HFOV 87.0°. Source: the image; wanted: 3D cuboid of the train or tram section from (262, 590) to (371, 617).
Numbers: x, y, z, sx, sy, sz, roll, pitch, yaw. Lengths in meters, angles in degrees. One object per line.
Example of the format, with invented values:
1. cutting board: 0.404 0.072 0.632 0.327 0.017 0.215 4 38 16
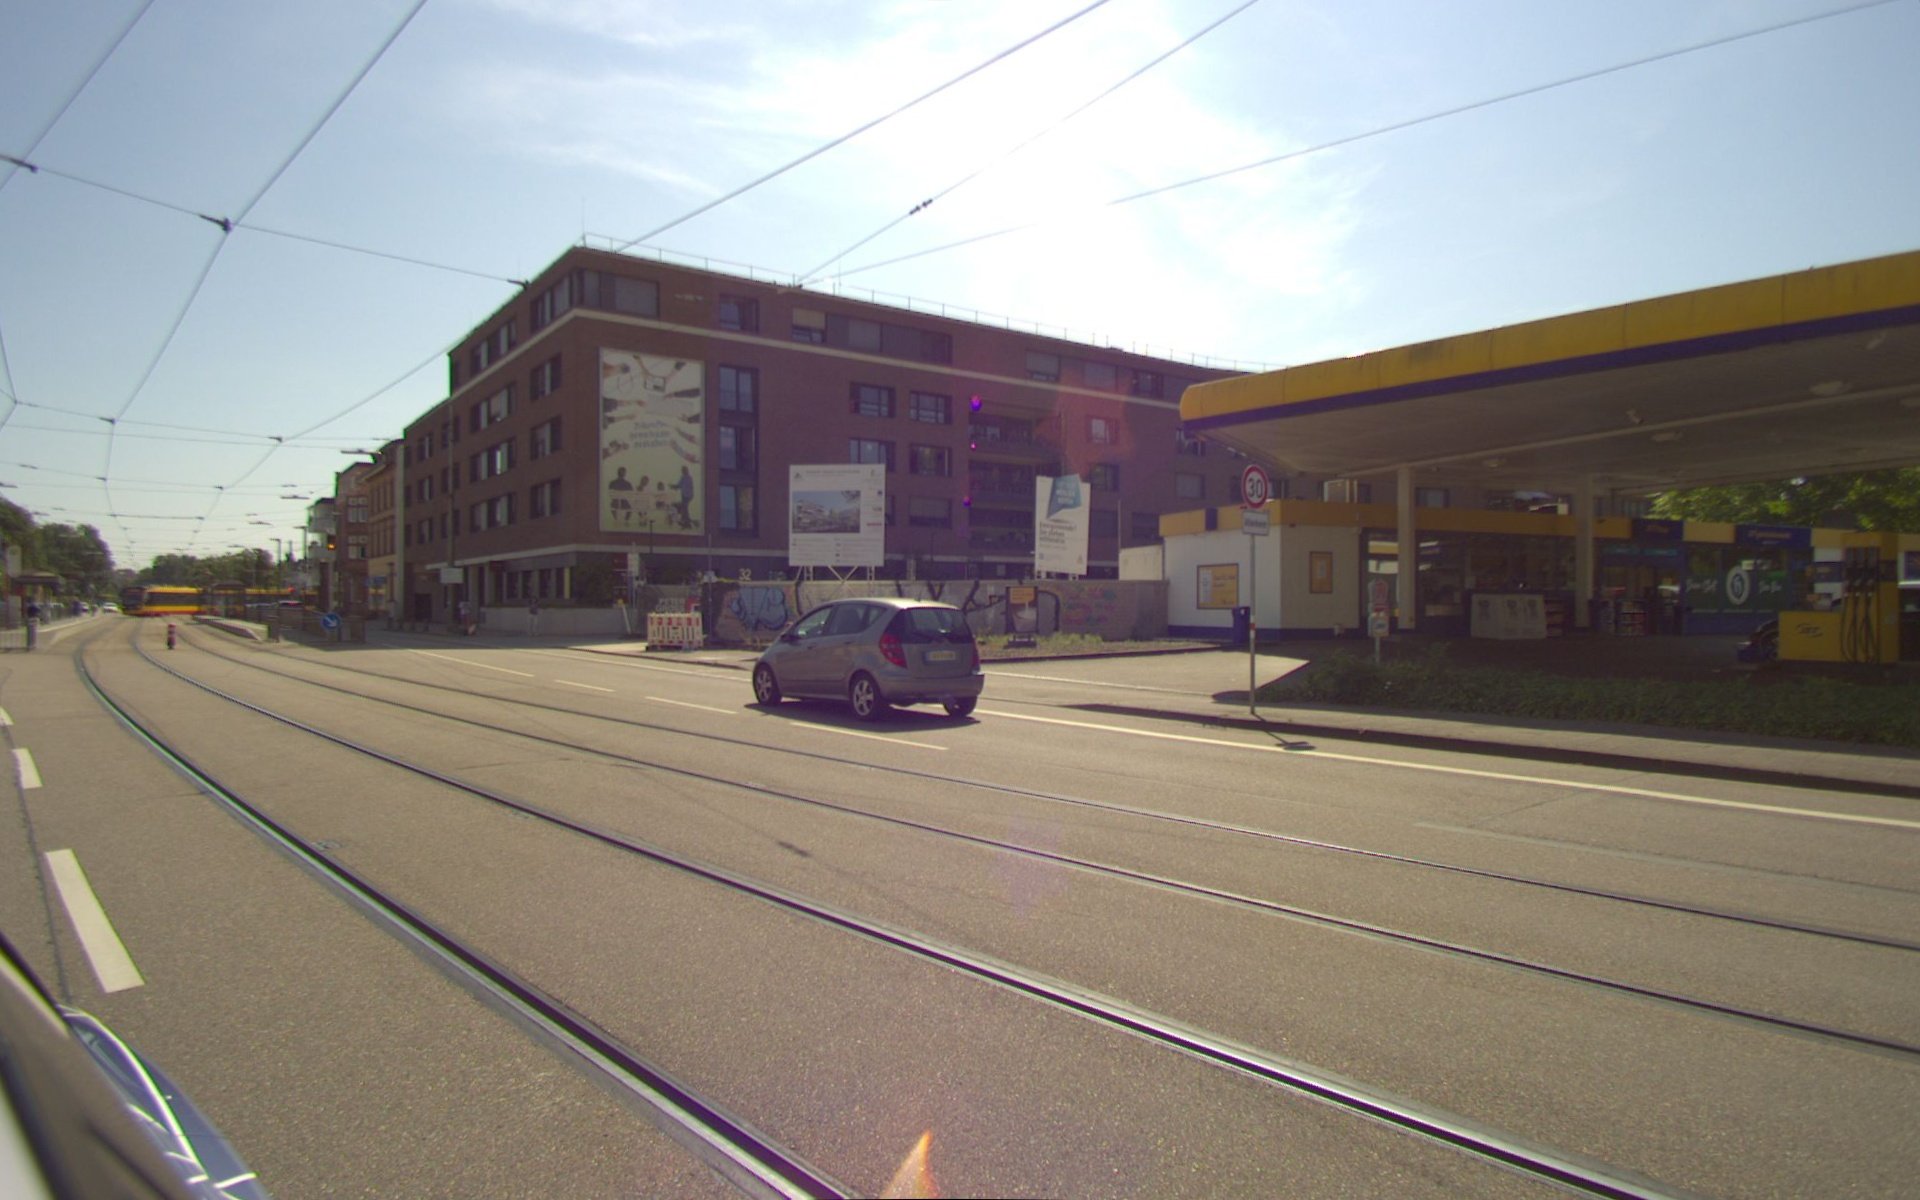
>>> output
1. train or tram section: -88.572 0.525 139.790 2.676 3.507 13.211 0 0 28

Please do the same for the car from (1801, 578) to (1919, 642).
1. car: 28.012 0.272 29.948 1.748 1.775 4.489 -2 2 -23

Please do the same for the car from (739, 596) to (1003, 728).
1. car: -1.371 0.763 14.211 1.724 1.583 3.897 2 -1 -41

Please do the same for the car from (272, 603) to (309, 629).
1. car: -47.251 1.097 71.354 1.778 1.742 4.196 -2 1 -39

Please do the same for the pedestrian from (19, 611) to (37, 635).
1. pedestrian: -49.688 1.248 53.960 0.621 1.264 0.711 1 -1 -40

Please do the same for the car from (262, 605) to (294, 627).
1. car: -52.714 1.214 78.188 1.690 1.634 3.585 -1 0 -39

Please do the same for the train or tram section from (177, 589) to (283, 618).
1. train or tram section: -91.982 0.471 127.997 2.656 3.507 13.310 0 0 7

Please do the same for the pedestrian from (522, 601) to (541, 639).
1. pedestrian: -18.785 0.872 44.388 0.574 1.677 0.701 1 -1 -41

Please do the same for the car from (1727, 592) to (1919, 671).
1. car: 16.858 0.536 18.379 1.673 1.313 4.405 -2 1 -22

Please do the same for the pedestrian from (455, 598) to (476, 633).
1. pedestrian: -26.107 0.820 53.419 0.834 1.833 0.840 0 -1 -39

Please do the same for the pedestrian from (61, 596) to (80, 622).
1. pedestrian: -64.116 0.656 72.967 0.968 1.872 1.240 1 -1 -39

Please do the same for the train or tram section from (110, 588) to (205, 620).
1. train or tram section: -91.280 0.457 115.512 2.644 3.507 13.369 0 0 -11
